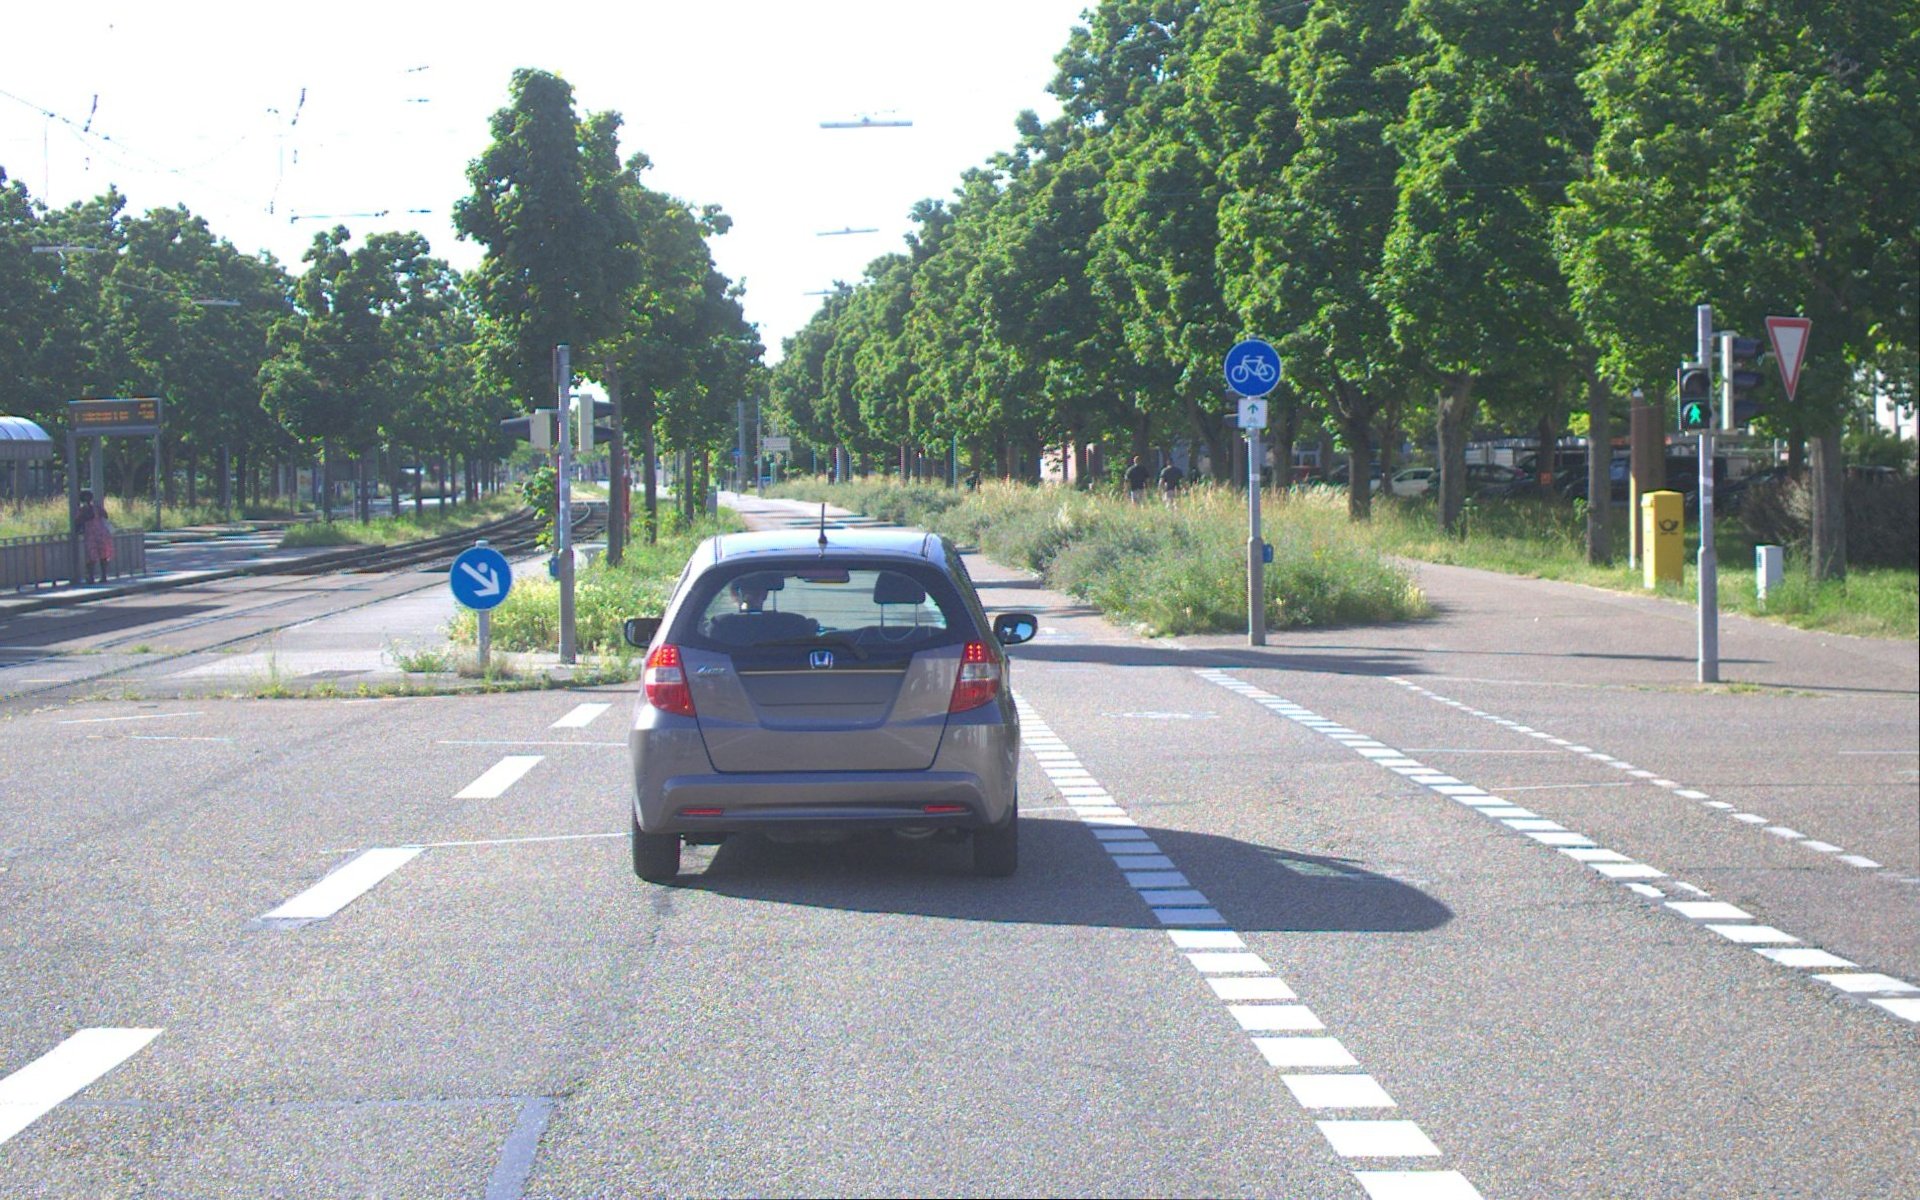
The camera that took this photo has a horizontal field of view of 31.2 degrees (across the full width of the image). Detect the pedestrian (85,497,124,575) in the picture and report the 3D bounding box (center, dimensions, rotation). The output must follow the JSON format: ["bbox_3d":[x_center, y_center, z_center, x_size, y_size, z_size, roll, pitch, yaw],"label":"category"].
[{"bbox_3d":[-16.005,-1.199,64.310,0.544,1.442,0.559,-2,1,-1],"label":"pedestrian"}]

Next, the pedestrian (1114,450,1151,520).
[{"bbox_3d":[4.712,-3.132,93.844,0.882,1.877,0.875,-1,2,-4],"label":"pedestrian"}]

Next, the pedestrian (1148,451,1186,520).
[{"bbox_3d":[5.653,-3.127,93.864,0.882,1.877,0.875,-1,2,-4],"label":"pedestrian"}]

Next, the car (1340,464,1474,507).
[{"bbox_3d":[16.735,-4.291,128.812,4.630,1.550,2.001,-1,2,-6],"label":"car"}]

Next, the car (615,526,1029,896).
[{"bbox_3d":[-0.593,0.429,15.993,1.701,1.518,3.710,0,1,-1],"label":"car"}]
